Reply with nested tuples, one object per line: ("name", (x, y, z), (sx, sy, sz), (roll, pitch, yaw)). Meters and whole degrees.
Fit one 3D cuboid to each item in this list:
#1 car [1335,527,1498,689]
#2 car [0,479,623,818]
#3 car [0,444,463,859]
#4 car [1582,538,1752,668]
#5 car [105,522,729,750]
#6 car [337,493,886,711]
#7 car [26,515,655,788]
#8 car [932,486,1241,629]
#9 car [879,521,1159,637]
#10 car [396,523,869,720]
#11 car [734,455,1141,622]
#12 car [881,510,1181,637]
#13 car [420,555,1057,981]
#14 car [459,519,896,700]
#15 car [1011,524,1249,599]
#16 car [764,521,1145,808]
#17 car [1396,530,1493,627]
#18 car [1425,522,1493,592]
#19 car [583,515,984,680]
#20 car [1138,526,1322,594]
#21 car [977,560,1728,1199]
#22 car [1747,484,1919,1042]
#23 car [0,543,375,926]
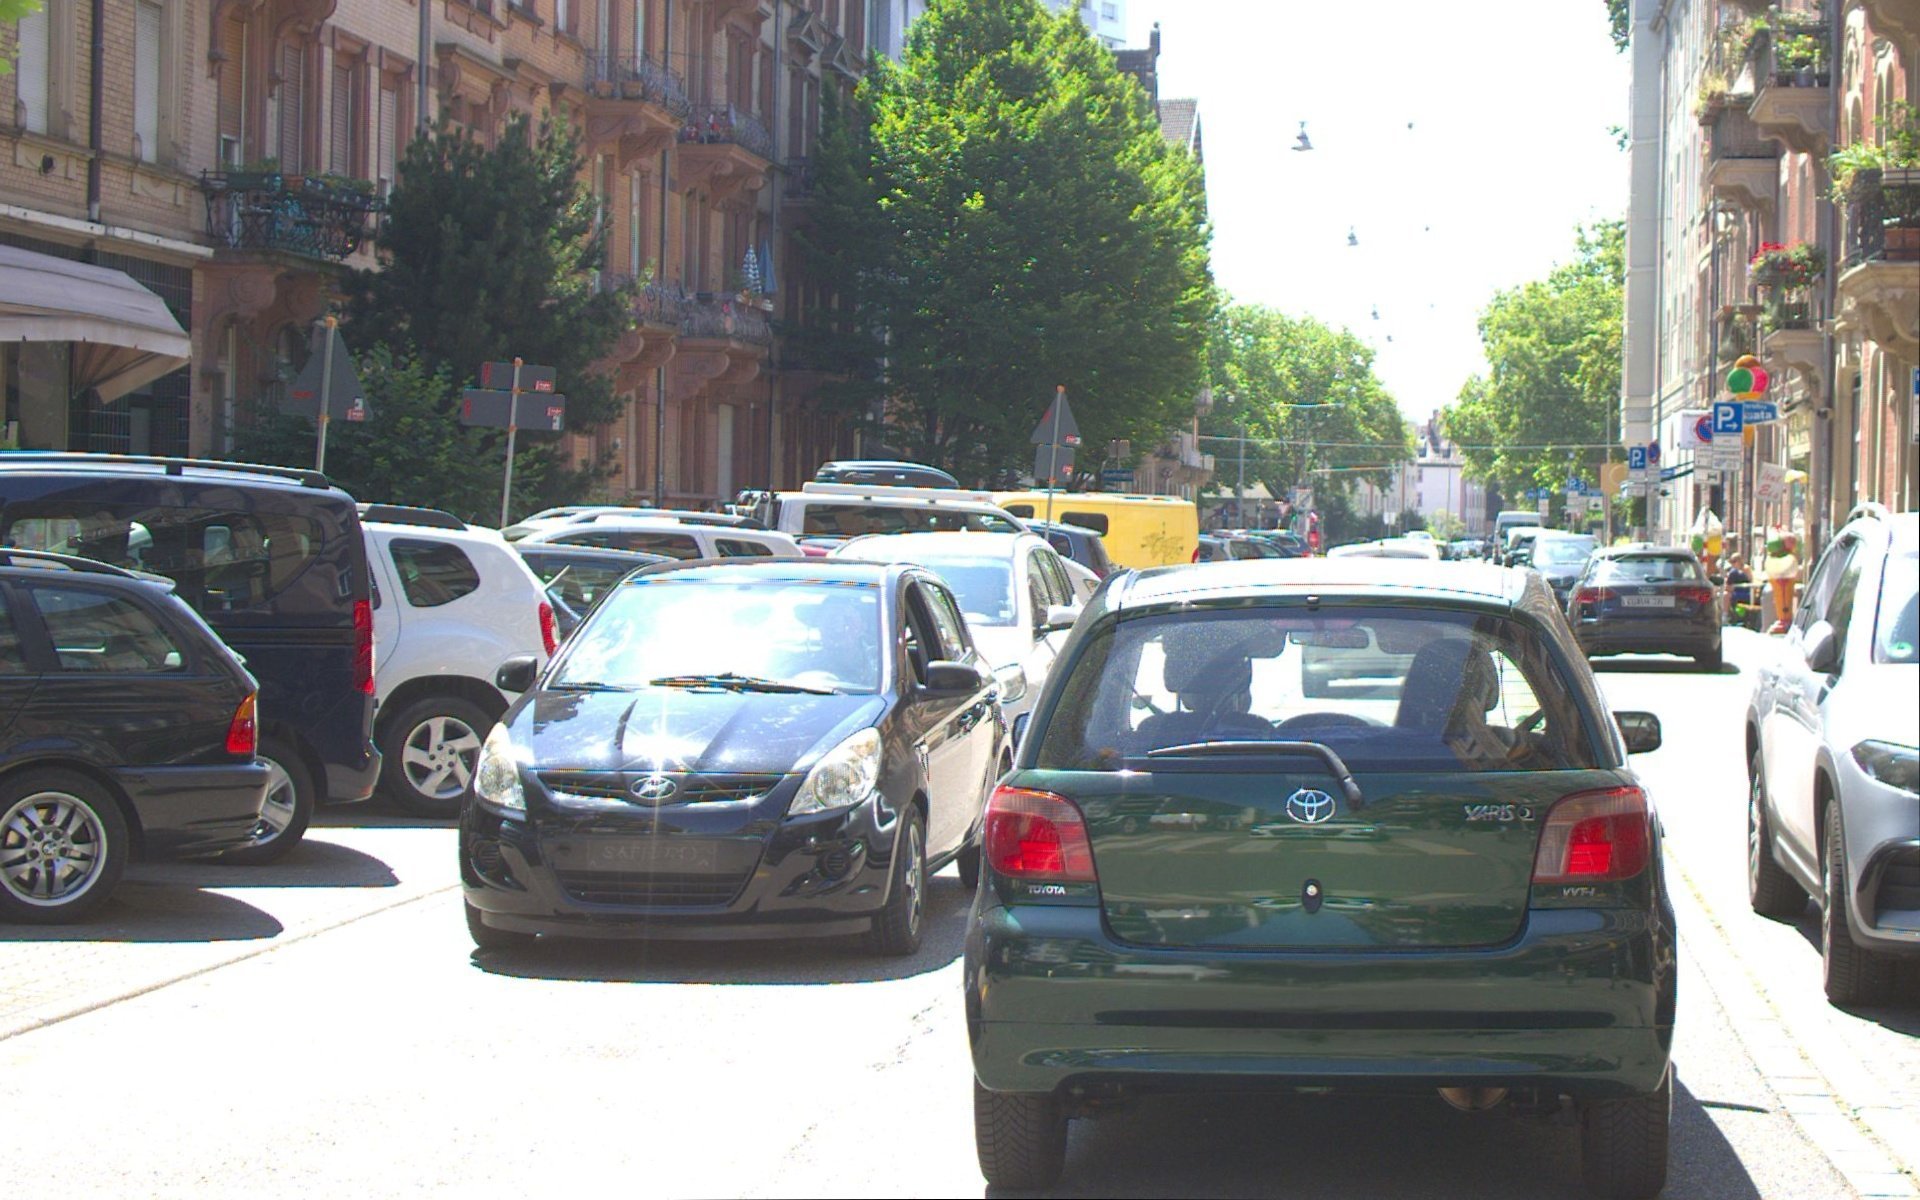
("car", (4.638, 0.041, 34.827), (1.523, 1.516, 3.263), (2, 2, 8))
("car", (-4.010, 0.234, 18.953), (3.985, 1.652, 1.760), (3, 1, -14))
("car", (-4.503, 0.178, 15.965), (3.986, 1.798, 1.770), (2, 1, -20))
("car", (8.295, -0.006, 40.568), (1.755, 1.424, 3.999), (1, 1, 9))
("car", (-3.815, 0.243, 24.256), (3.910, 1.465, 1.866), (1, 1, -30))
("car", (-2.770, 0.015, 27.482), (3.910, 1.613, 1.866), (1, 1, -31))
("car", (-3.834, 0.302, 21.207), (3.618, 1.453, 1.625), (3, 1, -14))
("car", (2.051, -0.698, 56.046), (4.556, 2.180, 2.001), (1, 1, -18))
("car", (0.872, -0.324, 51.996), (3.861, 1.634, 1.786), (1, 1, -14))
("car", (-2.946, 0.176, 30.623), (3.909, 1.613, 1.866), (1, 1, -15))
("car", (-0.306, -0.785, 44.223), (4.772, 1.987, 2.054), (1, 1, -20))
("car", (0.999, -0.391, 49.384), (3.909, 1.702, 1.866), (1, 1, -15))
("car", (-0.739, 0.559, 14.085), (1.755, 1.439, 3.999), (1, 1, 9))
("car", (-2.759, 0.080, 33.236), (3.909, 1.613, 1.866), (1, 1, -15))
("car", (3.580, -0.807, 72.402), (4.556, 1.429, 2.001), (1, 1, -18))
("car", (0.075, 0.345, 22.209), (1.755, 1.639, 4.376), (-1, 1, 9))
("car", (8.461, -0.394, 59.834), (1.523, 1.587, 3.262), (2, 2, 10))
("car", (11.904, -1.050, 82.168), (1.523, 1.587, 3.263), (1, 2, 7))
("car", (-1.896, -0.034, 36.439), (3.909, 1.613, 1.866), (1, 1, -15))
("car", (7.429, -1.098, 94.720), (4.605, 1.720, 2.001), (1, 1, -18))
("car", (0.938, 0.637, 9.048), (1.614, 1.480, 3.240), (0, 1, 3))
("car", (3.982, 0.460, 12.608), (1.872, 1.707, 4.502), (0, 1, 10))
("car", (-4.567, 0.468, 13.745), (3.986, 1.407, 1.972), (2, 2, -23))
